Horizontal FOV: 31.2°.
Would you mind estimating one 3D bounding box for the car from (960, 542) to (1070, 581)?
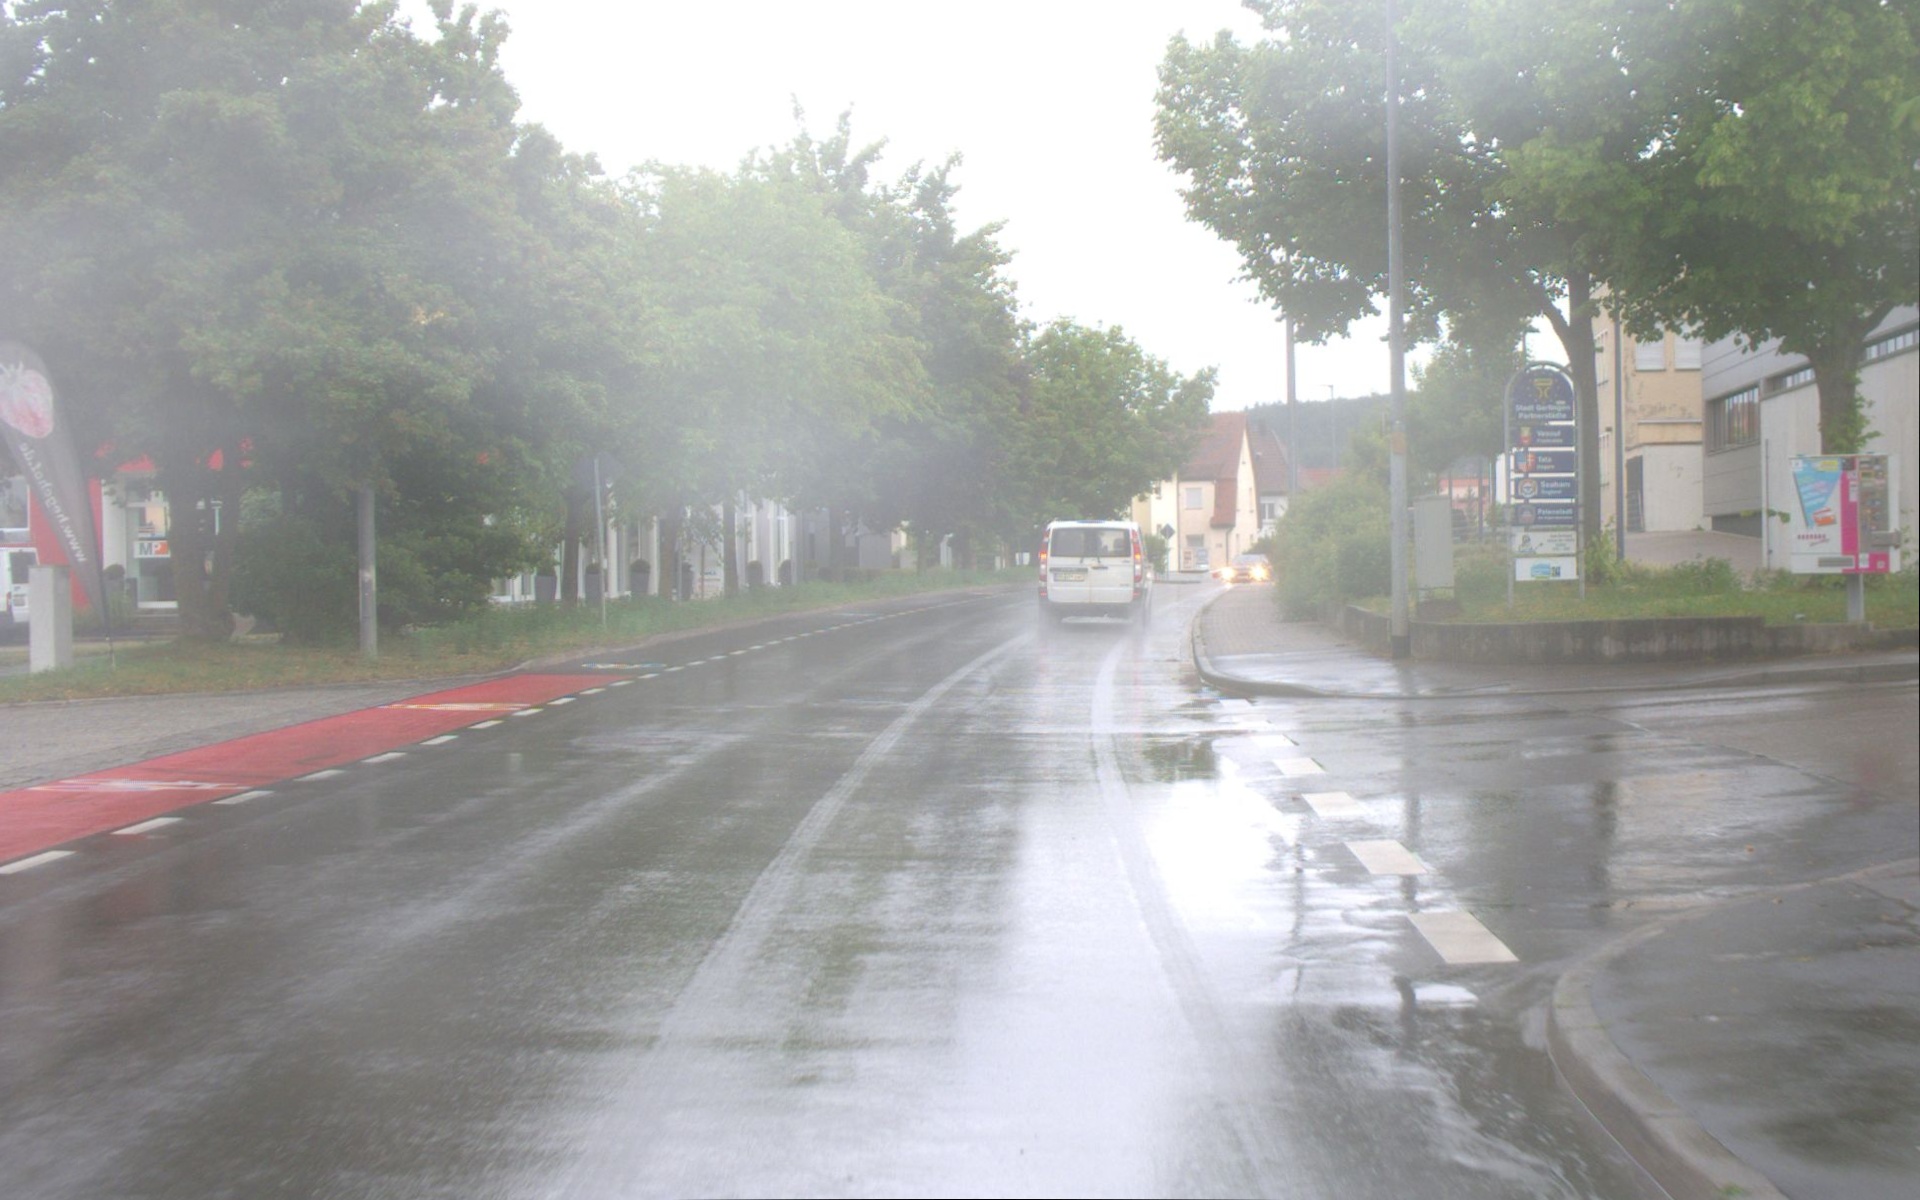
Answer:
[{"bbox_3d":[2.067,-1.432,128.068,3.901,1.280,1.581,-2,0,8],"label":"car"}]

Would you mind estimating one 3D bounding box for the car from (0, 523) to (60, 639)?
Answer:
[{"bbox_3d":[-20.935,-0.415,70.126,4.478,2.302,2.184,0,2,7],"label":"car"}]

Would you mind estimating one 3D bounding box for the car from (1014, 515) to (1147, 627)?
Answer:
[{"bbox_3d":[2.082,-0.553,60.741,2.117,1.881,4.502,0,2,-1],"label":"car"}]
